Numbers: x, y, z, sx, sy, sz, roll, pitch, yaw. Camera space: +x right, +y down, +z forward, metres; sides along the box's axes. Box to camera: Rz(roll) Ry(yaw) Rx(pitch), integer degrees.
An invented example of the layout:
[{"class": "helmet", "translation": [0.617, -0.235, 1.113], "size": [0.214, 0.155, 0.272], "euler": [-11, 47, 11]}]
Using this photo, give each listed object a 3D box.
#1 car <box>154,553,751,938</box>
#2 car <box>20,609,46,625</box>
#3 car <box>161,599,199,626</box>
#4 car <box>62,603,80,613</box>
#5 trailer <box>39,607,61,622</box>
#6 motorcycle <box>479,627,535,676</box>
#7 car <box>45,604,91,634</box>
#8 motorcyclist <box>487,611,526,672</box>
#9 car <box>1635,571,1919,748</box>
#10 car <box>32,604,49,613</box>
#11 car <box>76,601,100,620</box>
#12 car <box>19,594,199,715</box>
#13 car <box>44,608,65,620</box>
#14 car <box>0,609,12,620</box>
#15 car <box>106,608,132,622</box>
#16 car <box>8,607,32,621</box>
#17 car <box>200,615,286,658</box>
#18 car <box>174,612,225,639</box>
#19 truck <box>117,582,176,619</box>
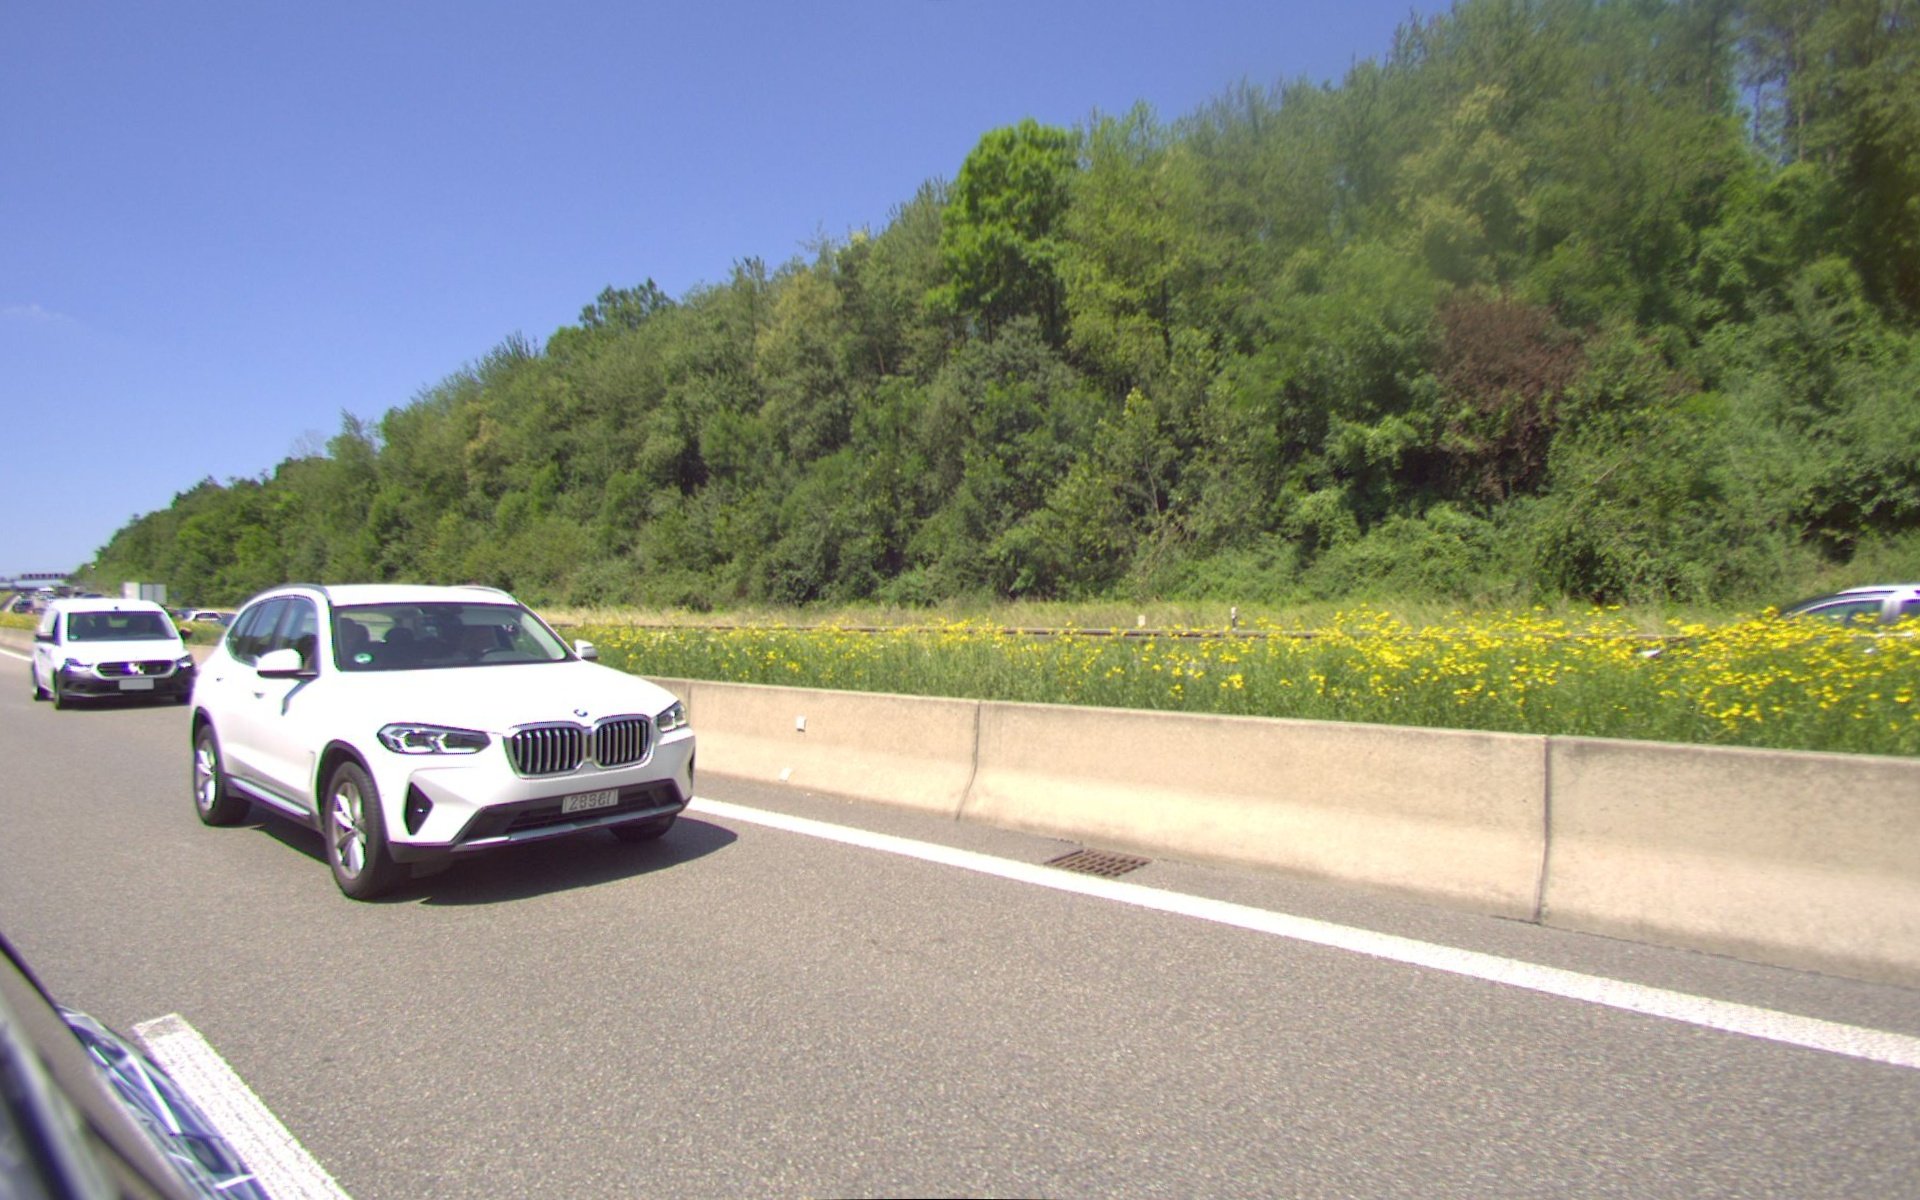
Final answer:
[{"class": "car", "translation": [-3.692, 0.682, 6.817], "size": [4.953, 1.707, 1.845], "euler": [-1, -1, 41]}, {"class": "car", "translation": [-90.801, 1.647, 99.094], "size": [3.359, 1.520, 1.581], "euler": [0, 0, 43]}, {"class": "car", "translation": [-61.784, 0.956, 80.133], "size": [3.998, 2.029, 1.616], "euler": [0, 0, 41]}, {"class": "car", "translation": [-165.468, 1.484, 188.354], "size": [4.000, 1.698, 1.972], "euler": [0, 0, 42]}, {"class": "trailer", "translation": [-129.178, 2.024, 143.649], "size": [4.000, 2.029, 1.972], "euler": [0, 0, 43]}, {"class": "motorcycle", "translation": [-10.284, 1.152, 22.961], "size": [1.466, 1.041, 0.617], "euler": [-1, 0, 41]}, {"class": "car", "translation": [-64.108, 1.324, 72.708], "size": [4.899, 2.029, 1.972], "euler": [0, 0, 43]}, {"class": "motorcyclist", "translation": [-10.281, 0.929, 22.956], "size": [0.577, 1.344, 0.616], "euler": [-1, 0, 42]}, {"class": "car", "translation": [9.436, 0.558, 10.369], "size": [3.978, 1.654, 1.928], "euler": [-1, -1, 41]}, {"class": "car", "translation": [-170.341, 1.612, 187.550], "size": [4.000, 1.698, 1.972], "euler": [0, 0, 42]}, {"class": "car", "translation": [-118.873, 1.404, 137.966], "size": [3.999, 2.448, 1.972], "euler": [0, 0, 42]}, {"class": "car", "translation": [-14.901, 0.872, 17.626], "size": [4.672, 1.826, 1.746], "euler": [-1, -1, 42]}, {"class": "car", "translation": [-104.344, 1.583, 116.619], "size": [3.360, 1.394, 1.580], "euler": [0, 0, 44]}, {"class": "car", "translation": [-145.221, 2.180, 153.332], "size": [3.999, 1.698, 1.972], "euler": [-1, -1, 42]}, {"class": "car", "translation": [-90.466, 1.646, 108.871], "size": [3.507, 1.399, 1.597], "euler": [-1, 0, 42]}, {"class": "car", "translation": [-122.646, 1.811, 132.034], "size": [3.999, 1.680, 1.897], "euler": [0, 0, 42]}, {"class": "car", "translation": [-27.406, 1.356, 38.641], "size": [3.997, 1.521, 1.743], "euler": [-1, 0, 41]}, {"class": "car", "translation": [-44.261, 1.460, 58.877], "size": [3.827, 1.519, 1.654], "euler": [-1, 0, 41]}, {"class": "truck", "translation": [-97.389, 0.037, 121.080], "size": [13.795, 4.226, 3.669], "euler": [0, 0, 43]}]
